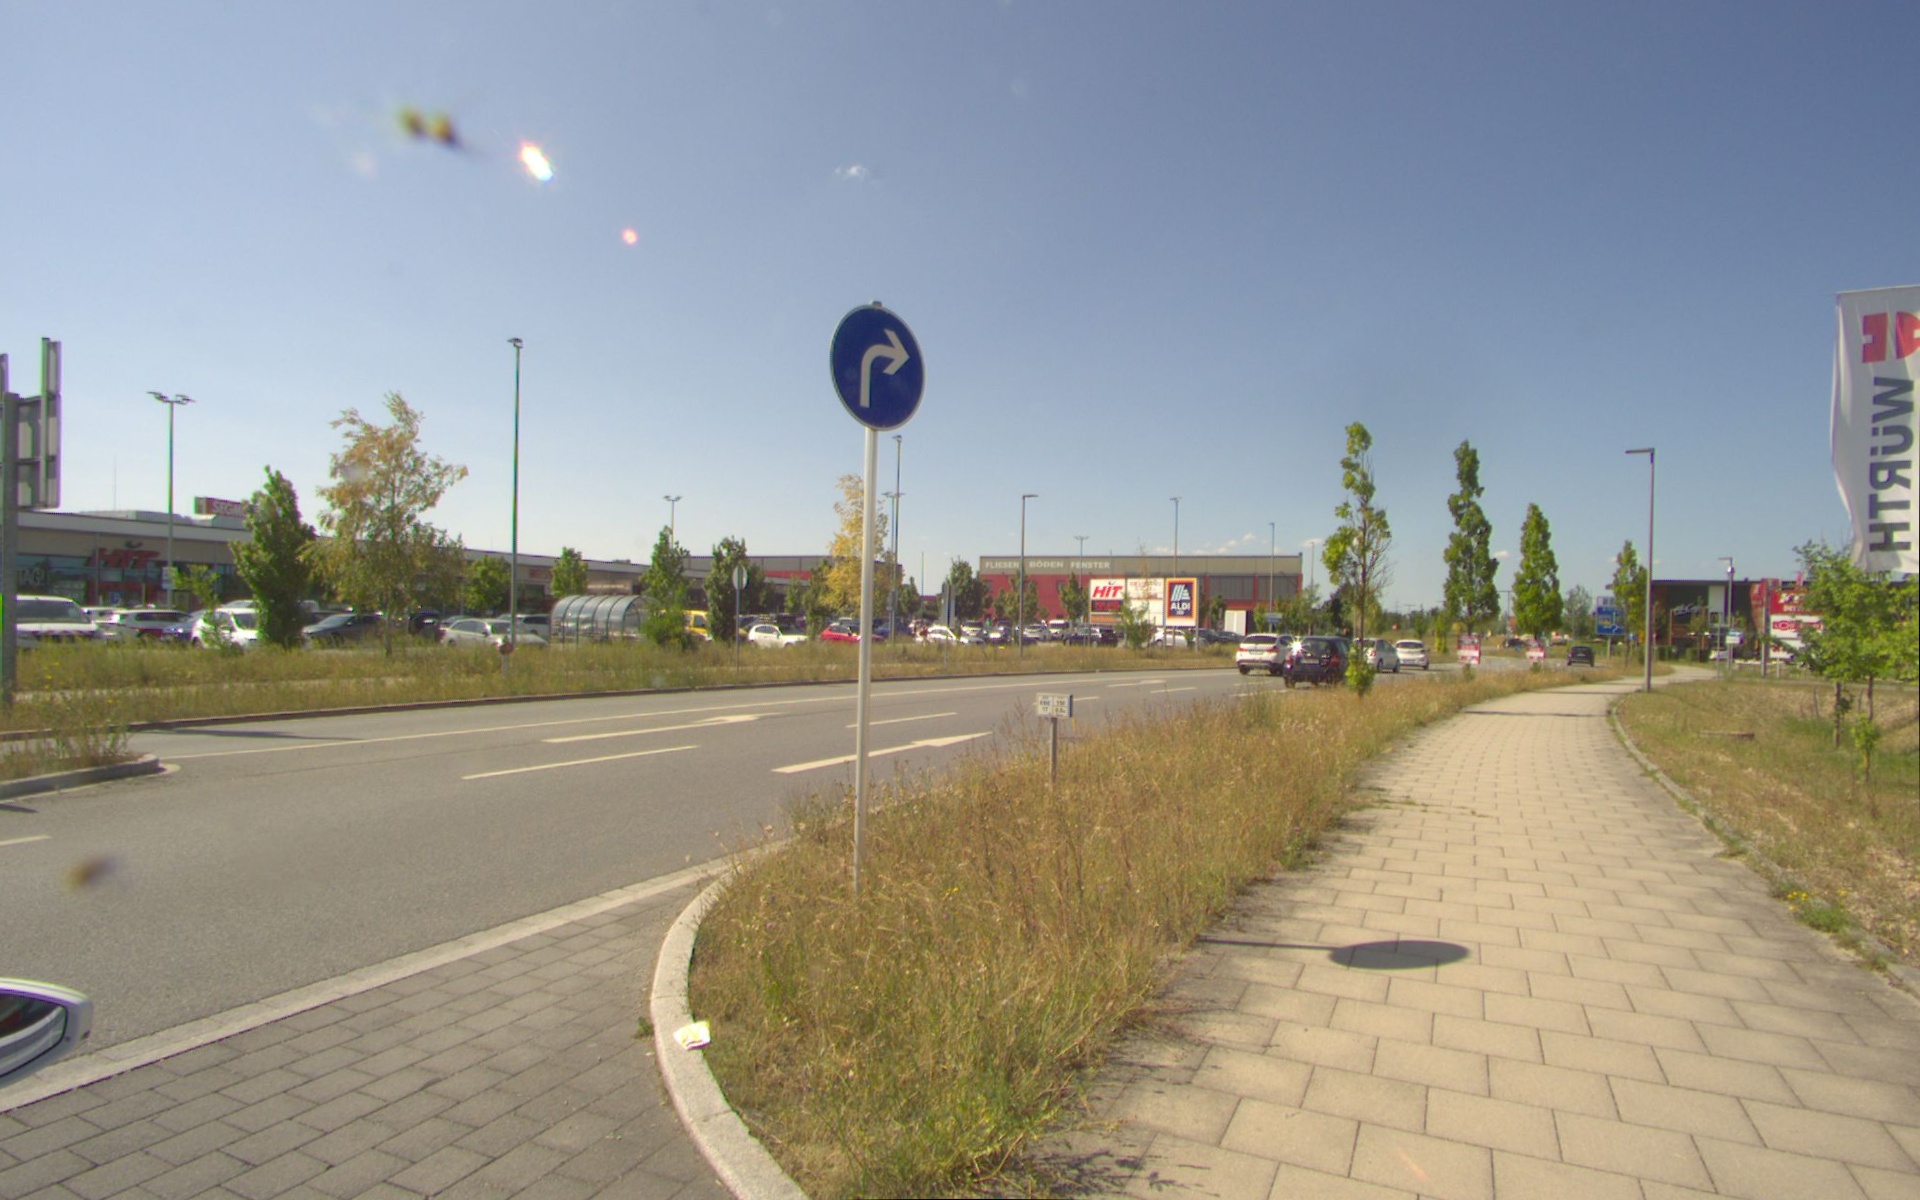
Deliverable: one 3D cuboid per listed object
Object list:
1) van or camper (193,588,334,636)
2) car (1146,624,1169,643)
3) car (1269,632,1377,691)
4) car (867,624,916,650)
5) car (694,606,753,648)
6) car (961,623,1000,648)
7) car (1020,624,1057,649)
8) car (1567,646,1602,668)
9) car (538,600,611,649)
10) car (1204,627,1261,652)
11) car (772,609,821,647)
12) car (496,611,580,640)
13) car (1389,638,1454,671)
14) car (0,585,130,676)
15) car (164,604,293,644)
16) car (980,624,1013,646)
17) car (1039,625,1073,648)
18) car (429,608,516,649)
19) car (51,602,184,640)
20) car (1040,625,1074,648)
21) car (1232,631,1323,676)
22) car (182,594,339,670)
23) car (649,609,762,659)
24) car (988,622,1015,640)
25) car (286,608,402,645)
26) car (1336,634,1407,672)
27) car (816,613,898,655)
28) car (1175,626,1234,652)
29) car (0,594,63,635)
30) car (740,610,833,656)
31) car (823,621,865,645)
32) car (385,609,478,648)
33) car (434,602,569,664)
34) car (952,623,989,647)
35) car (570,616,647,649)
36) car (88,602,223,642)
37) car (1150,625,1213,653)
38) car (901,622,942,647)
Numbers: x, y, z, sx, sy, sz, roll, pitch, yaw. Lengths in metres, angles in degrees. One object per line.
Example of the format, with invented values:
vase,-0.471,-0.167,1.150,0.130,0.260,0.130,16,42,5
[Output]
van or camper,-31.695,0.563,45.766,1.966,2.040,5.040,1,-1,22
car,23.121,3.914,117.003,1.965,2.064,4.477,0,-2,20
car,10.710,1.742,29.379,1.974,1.570,3.819,1,-1,36
car,-5.046,2.717,74.187,1.965,1.807,4.308,0,-2,20
car,-16.922,1.941,71.877,1.965,2.857,4.477,0,-1,20
car,1.818,3.082,86.950,1.965,2.064,4.477,0,-2,20
car,6.688,3.081,84.490,1.965,2.064,4.477,0,-2,20
car,47.554,4.306,76.194,1.890,1.571,4.360,0,-2,37
car,-23.703,1.530,61.771,1.963,2.857,4.482,1,-1,15
car,23.725,3.424,87.248,4.420,2.064,1.990,0,-2,32
car,-12.449,2.150,76.513,1.963,2.857,4.482,1,-1,15
car,-23.058,1.425,54.846,1.627,1.539,4.341,0,-2,22
car,23.527,2.732,50.956,1.923,1.571,4.728,0,-2,38
car,-23.098,0.695,24.838,5.147,2.040,2.080,1,-1,29
car,-28.021,0.920,38.491,1.700,1.409,3.727,1,-1,17
car,3.705,3.532,100.791,1.965,2.064,4.477,0,-2,20
car,8.663,3.285,90.212,1.965,2.064,4.477,0,-2,20
car,-27.581,1.638,56.796,1.963,2.219,4.482,1,-2,15
car,-33.448,0.820,39.869,1.700,1.409,3.727,1,-1,17
car,8.788,3.286,90.180,1.965,2.064,4.477,0,-2,20
car,12.000,1.972,37.677,1.720,1.571,4.537,0,-2,39
car,-20.608,0.876,29.421,5.046,2.040,2.152,1,-1,35
car,-11.282,1.470,44.266,5.050,2.040,2.150,0,-1,38
car,5.182,3.855,124.021,1.965,2.064,4.477,0,-2,20
car,-26.784,1.176,43.704,1.843,1.527,3.992,0,-2,22
car,18.231,2.331,44.317,1.722,1.571,3.752,0,-2,42
car,-5.404,1.741,52.244,4.088,2.039,1.870,1,-1,40
car,20.235,3.239,82.916,4.420,2.064,1.990,0,-2,32
car,-41.174,0.604,42.332,1.843,1.727,4.475,0,-2,24
car,-8.415,1.574,48.415,4.353,2.039,1.932,1,-1,38
car,-10.479,3.004,90.538,1.965,2.064,4.477,0,-2,20
car,-30.449,1.672,57.855,1.967,2.129,4.472,0,-2,24
car,-16.561,1.141,36.093,5.046,2.040,2.152,1,-1,35
car,0.986,3.227,92.144,1.965,2.064,4.477,0,-2,20
car,-21.198,1.967,60.567,1.965,1.887,4.477,0,-2,20
car,-30.794,0.838,38.472,1.700,1.409,3.727,1,-1,17
car,17.418,3.070,78.805,4.420,2.064,1.990,0,-2,32
car,-3.362,3.044,88.282,1.965,2.064,4.477,0,-2,20
